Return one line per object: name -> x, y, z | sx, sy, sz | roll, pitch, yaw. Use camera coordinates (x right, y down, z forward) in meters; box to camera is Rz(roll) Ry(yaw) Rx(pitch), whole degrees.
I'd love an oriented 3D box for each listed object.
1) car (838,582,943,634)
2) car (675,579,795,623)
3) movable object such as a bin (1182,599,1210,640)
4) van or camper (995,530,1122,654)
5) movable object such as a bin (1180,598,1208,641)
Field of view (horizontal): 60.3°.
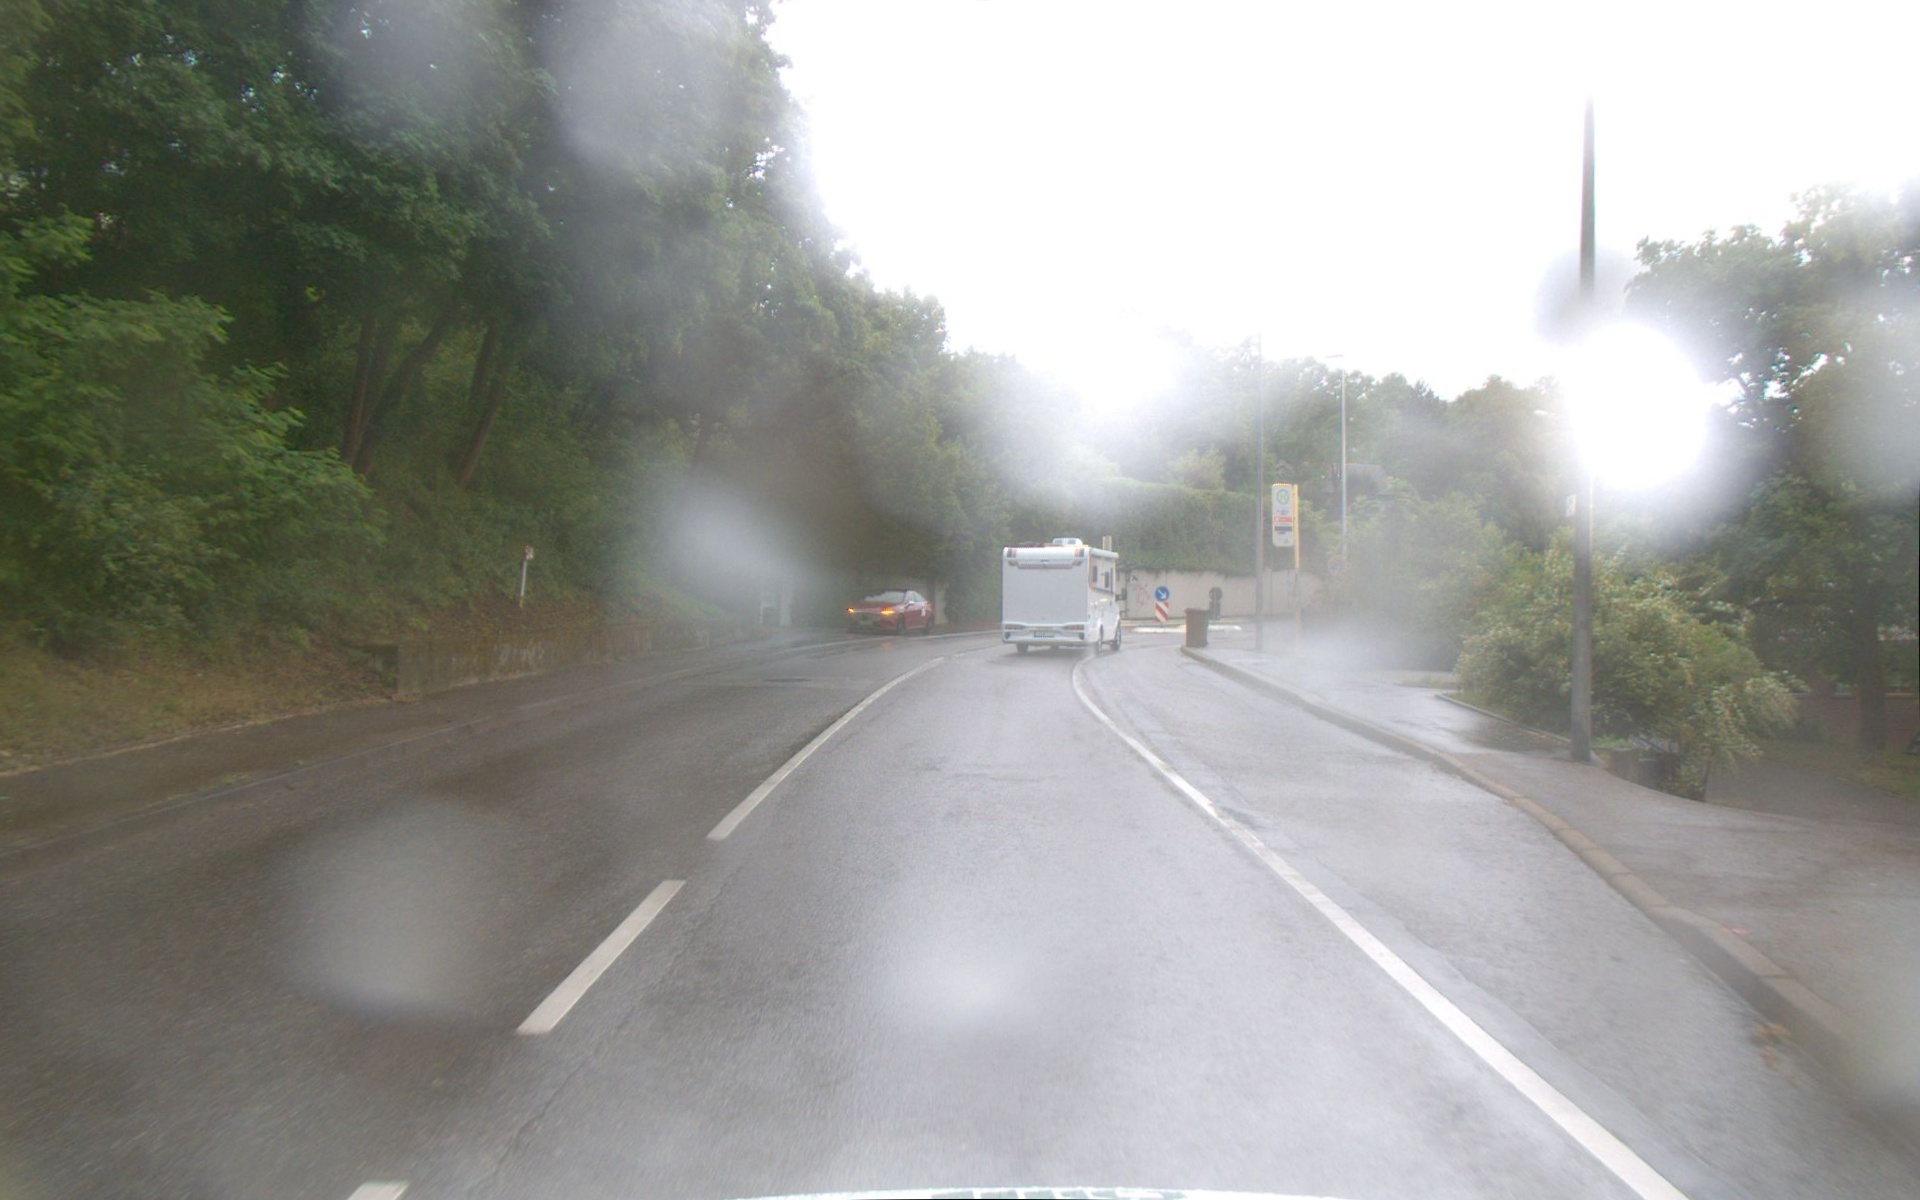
car -> -2.241, 0.214, 54.531 | 1.952, 1.589, 4.655 | 2, 1, 18
car -> -8.211, 0.010, 60.419 | 3.903, 1.529, 1.880 | 1, 1, 17
movable object such as a bin -> 6.737, 0.559, 47.274 | 0.761, 1.153, 0.739 | 1, 0, 8
van or camper -> 2.689, -0.214, 43.636 | 2.486, 2.976, 5.953 | 2, 1, 11
movable object such as a bin -> 6.510, 0.540, 46.006 | 0.761, 1.153, 0.739 | 1, 0, 8
